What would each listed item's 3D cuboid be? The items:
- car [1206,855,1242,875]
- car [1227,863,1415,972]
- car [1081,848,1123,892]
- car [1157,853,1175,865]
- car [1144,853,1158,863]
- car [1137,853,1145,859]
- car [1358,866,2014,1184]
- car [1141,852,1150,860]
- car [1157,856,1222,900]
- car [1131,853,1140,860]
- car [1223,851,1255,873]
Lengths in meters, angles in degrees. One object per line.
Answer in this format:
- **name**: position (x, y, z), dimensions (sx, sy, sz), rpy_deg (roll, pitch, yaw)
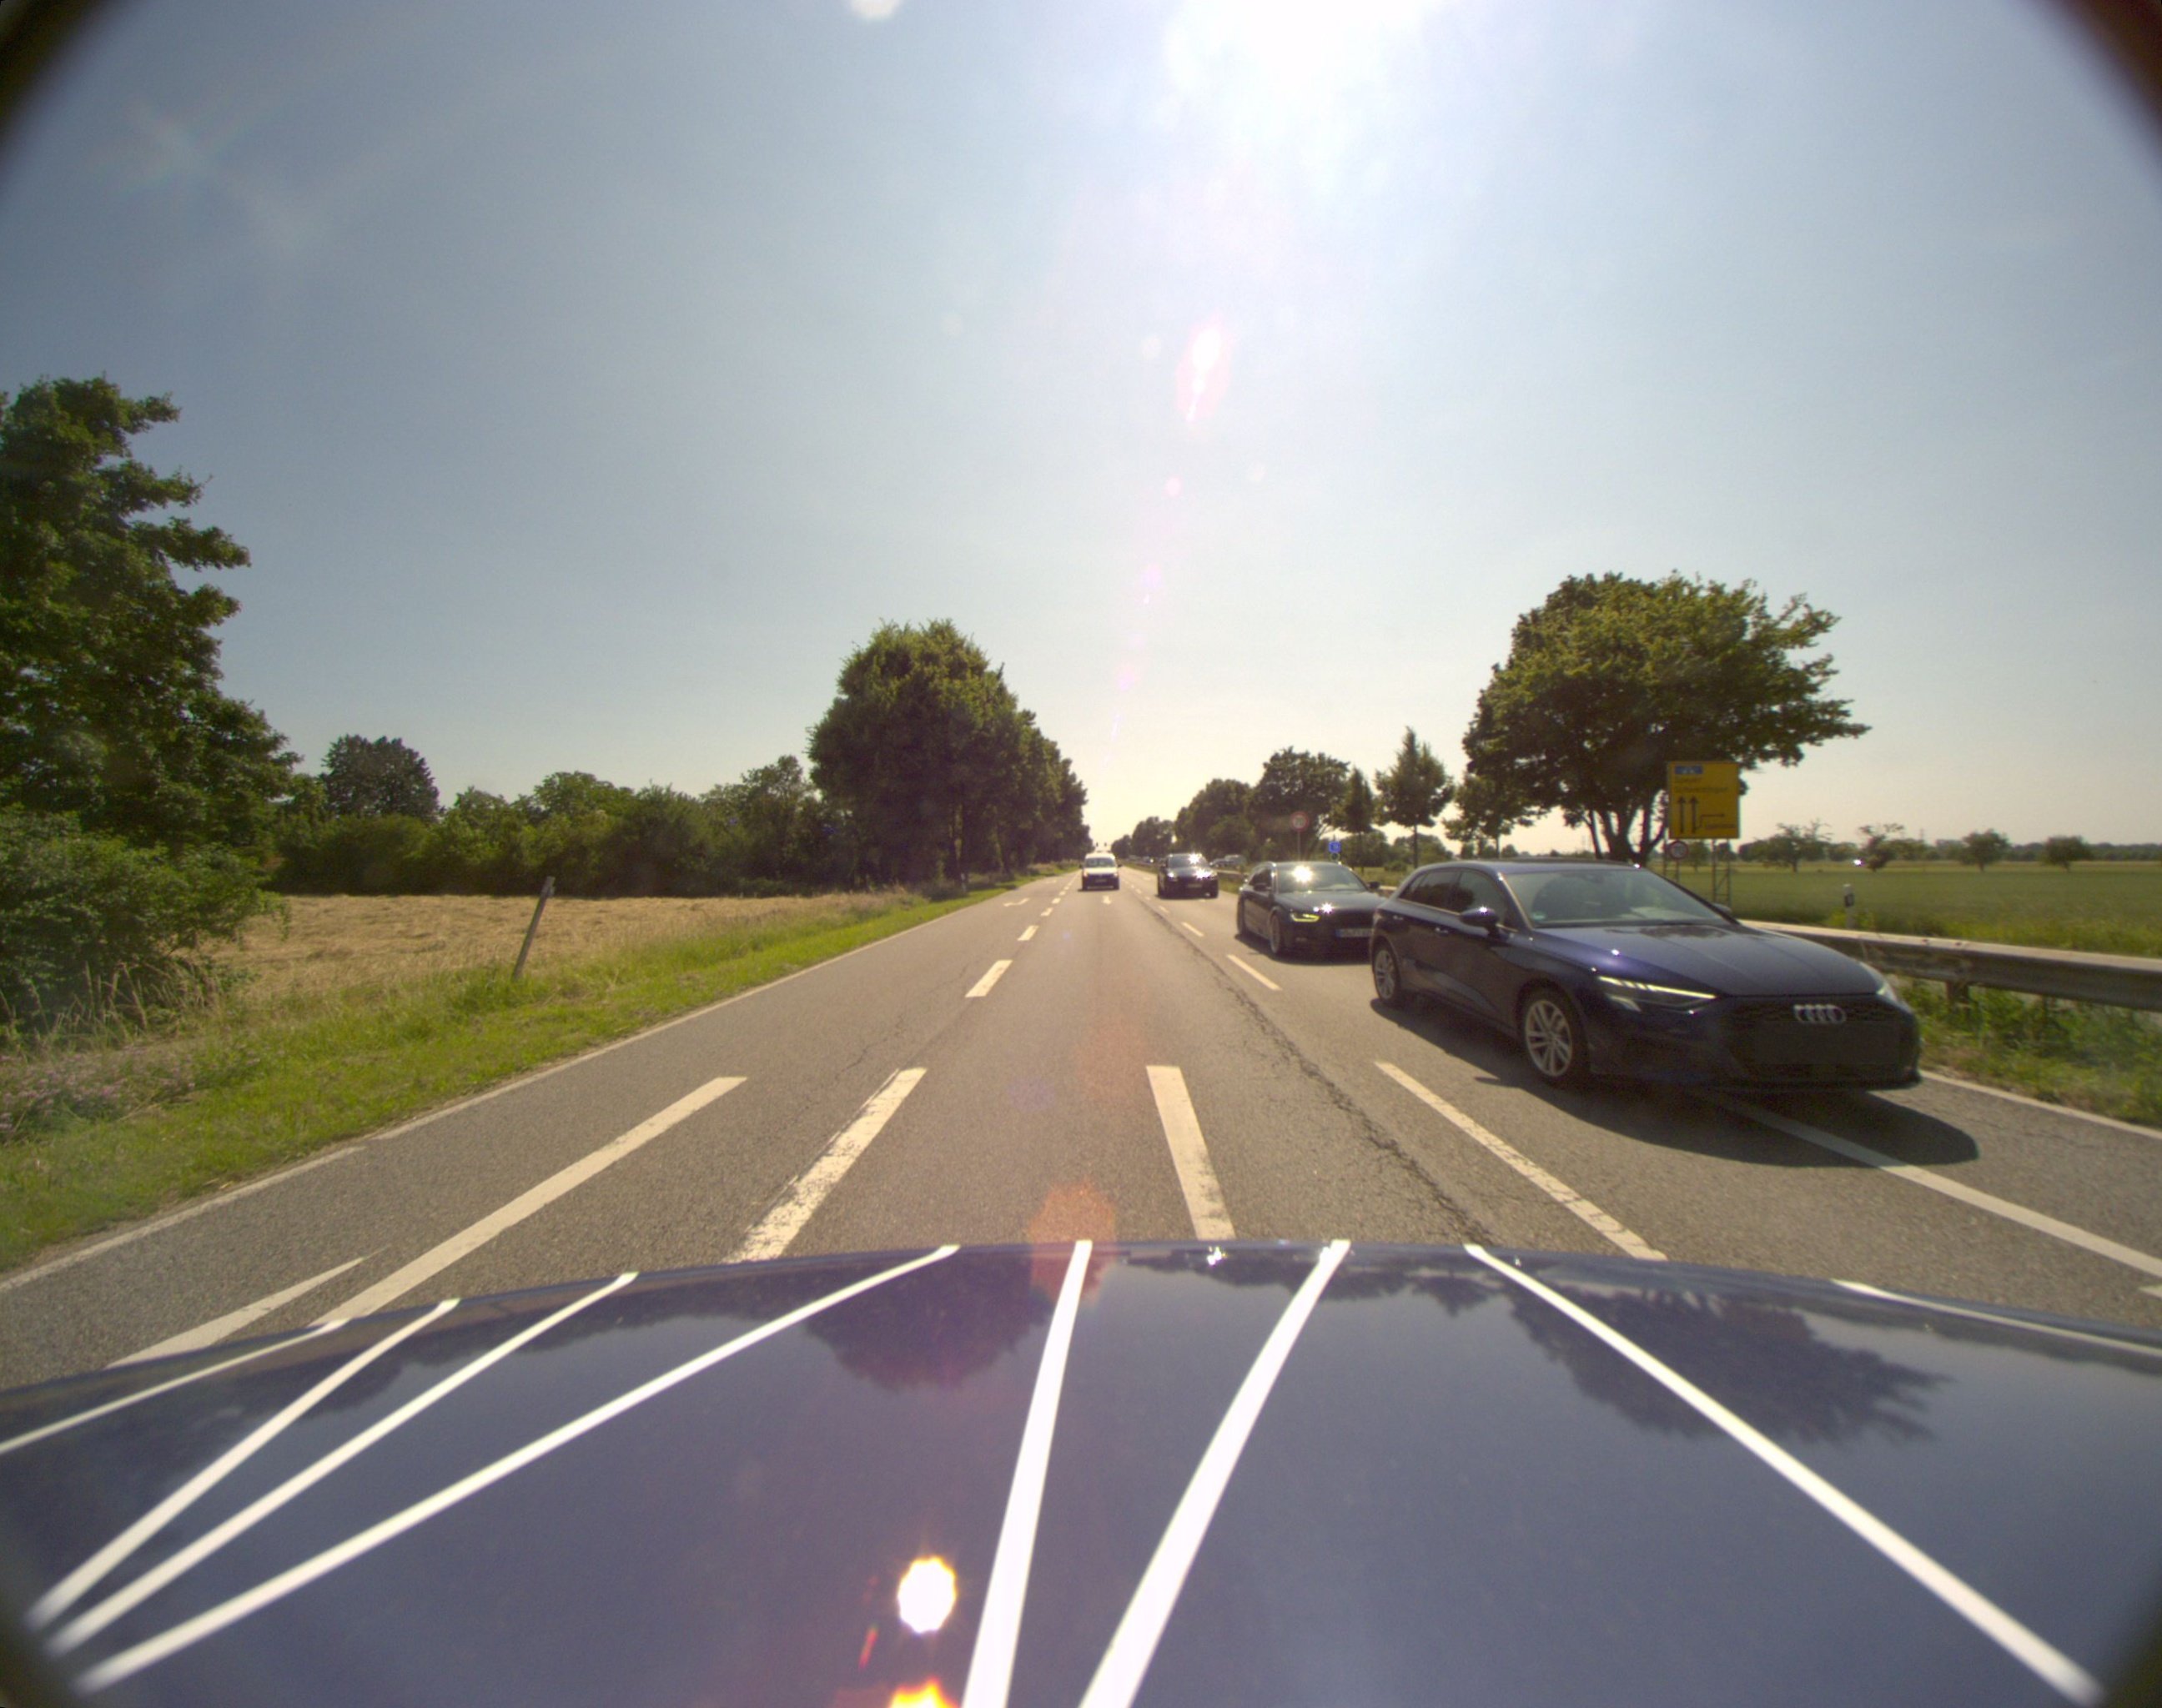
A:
- **car**: position (10.585, 0.805, 56.568), dimensions (1.884, 1.446, 4.504), rpy_deg (0, 0, 0)
- **car**: position (3.696, 0.897, 12.573), dimensions (1.744, 1.372, 4.455), rpy_deg (-2, 0, 1)
- **car**: position (0.976, 0.715, 36.275), dimensions (1.777, 1.863, 4.581), rpy_deg (-2, 0, 1)
- **car**: position (11.497, 0.688, 102.723), dimensions (1.998, 1.593, 4.481), rpy_deg (0, 0, 0)
- **car**: position (12.175, 0.643, 132.253), dimensions (1.998, 1.653, 4.481), rpy_deg (0, 0, 0)
- **car**: position (17.861, 0.584, 227.068), dimensions (2.043, 2.002, 4.532), rpy_deg (0, 0, 0)
- **car**: position (3.714, 0.871, 5.748), dimensions (1.721, 1.456, 4.030), rpy_deg (-2, 0, 0)
- **car**: position (16.660, 0.609, 197.489), dimensions (1.998, 1.949, 4.927), rpy_deg (0, 0, 0)
- **car**: position (4.018, 0.855, 28.750), dimensions (1.860, 1.507, 4.100), rpy_deg (-2, 0, 0)
- **car**: position (13.503, 0.626, 188.007), dimensions (1.998, 1.547, 4.481), rpy_deg (0, 0, 0)
- **car**: position (14.594, 0.711, 70.548), dimensions (1.998, 1.940, 4.830), rpy_deg (1, 0, 0)
